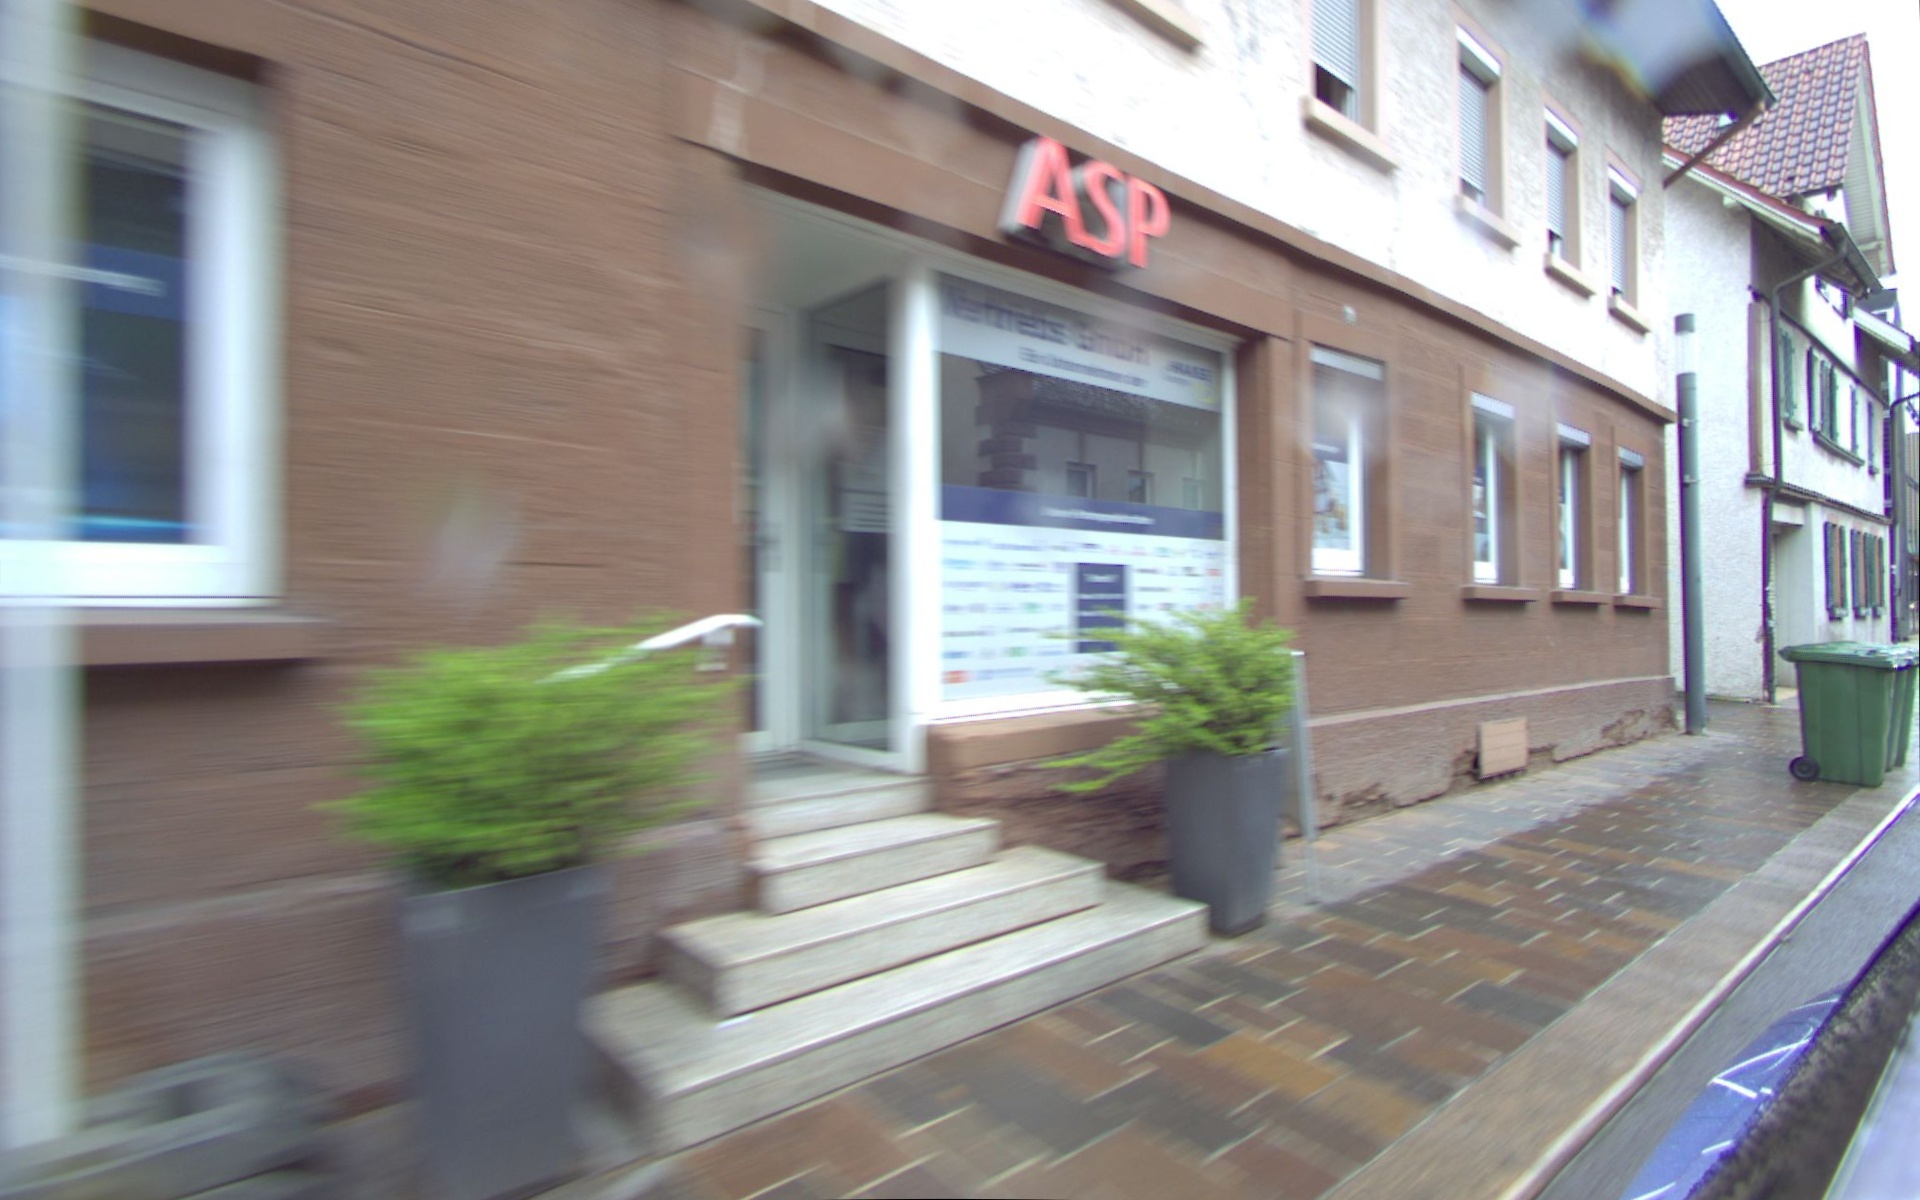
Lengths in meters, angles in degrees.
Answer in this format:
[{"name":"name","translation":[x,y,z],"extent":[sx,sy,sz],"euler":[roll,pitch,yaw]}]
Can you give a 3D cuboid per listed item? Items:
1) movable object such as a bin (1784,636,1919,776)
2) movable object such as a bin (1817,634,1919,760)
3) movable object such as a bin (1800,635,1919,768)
[{"name":"movable object such as a bin","translation":[7.189,0.820,8.148],"extent":[0.627,1.035,0.733],"euler":[1,-1,-39]},{"name":"movable object such as a bin","translation":[8.160,0.833,8.981],"extent":[0.627,1.035,0.733],"euler":[1,-1,-39]},{"name":"movable object such as a bin","translation":[7.673,0.829,8.579],"extent":[0.627,1.035,0.733],"euler":[1,-1,-39]}]
